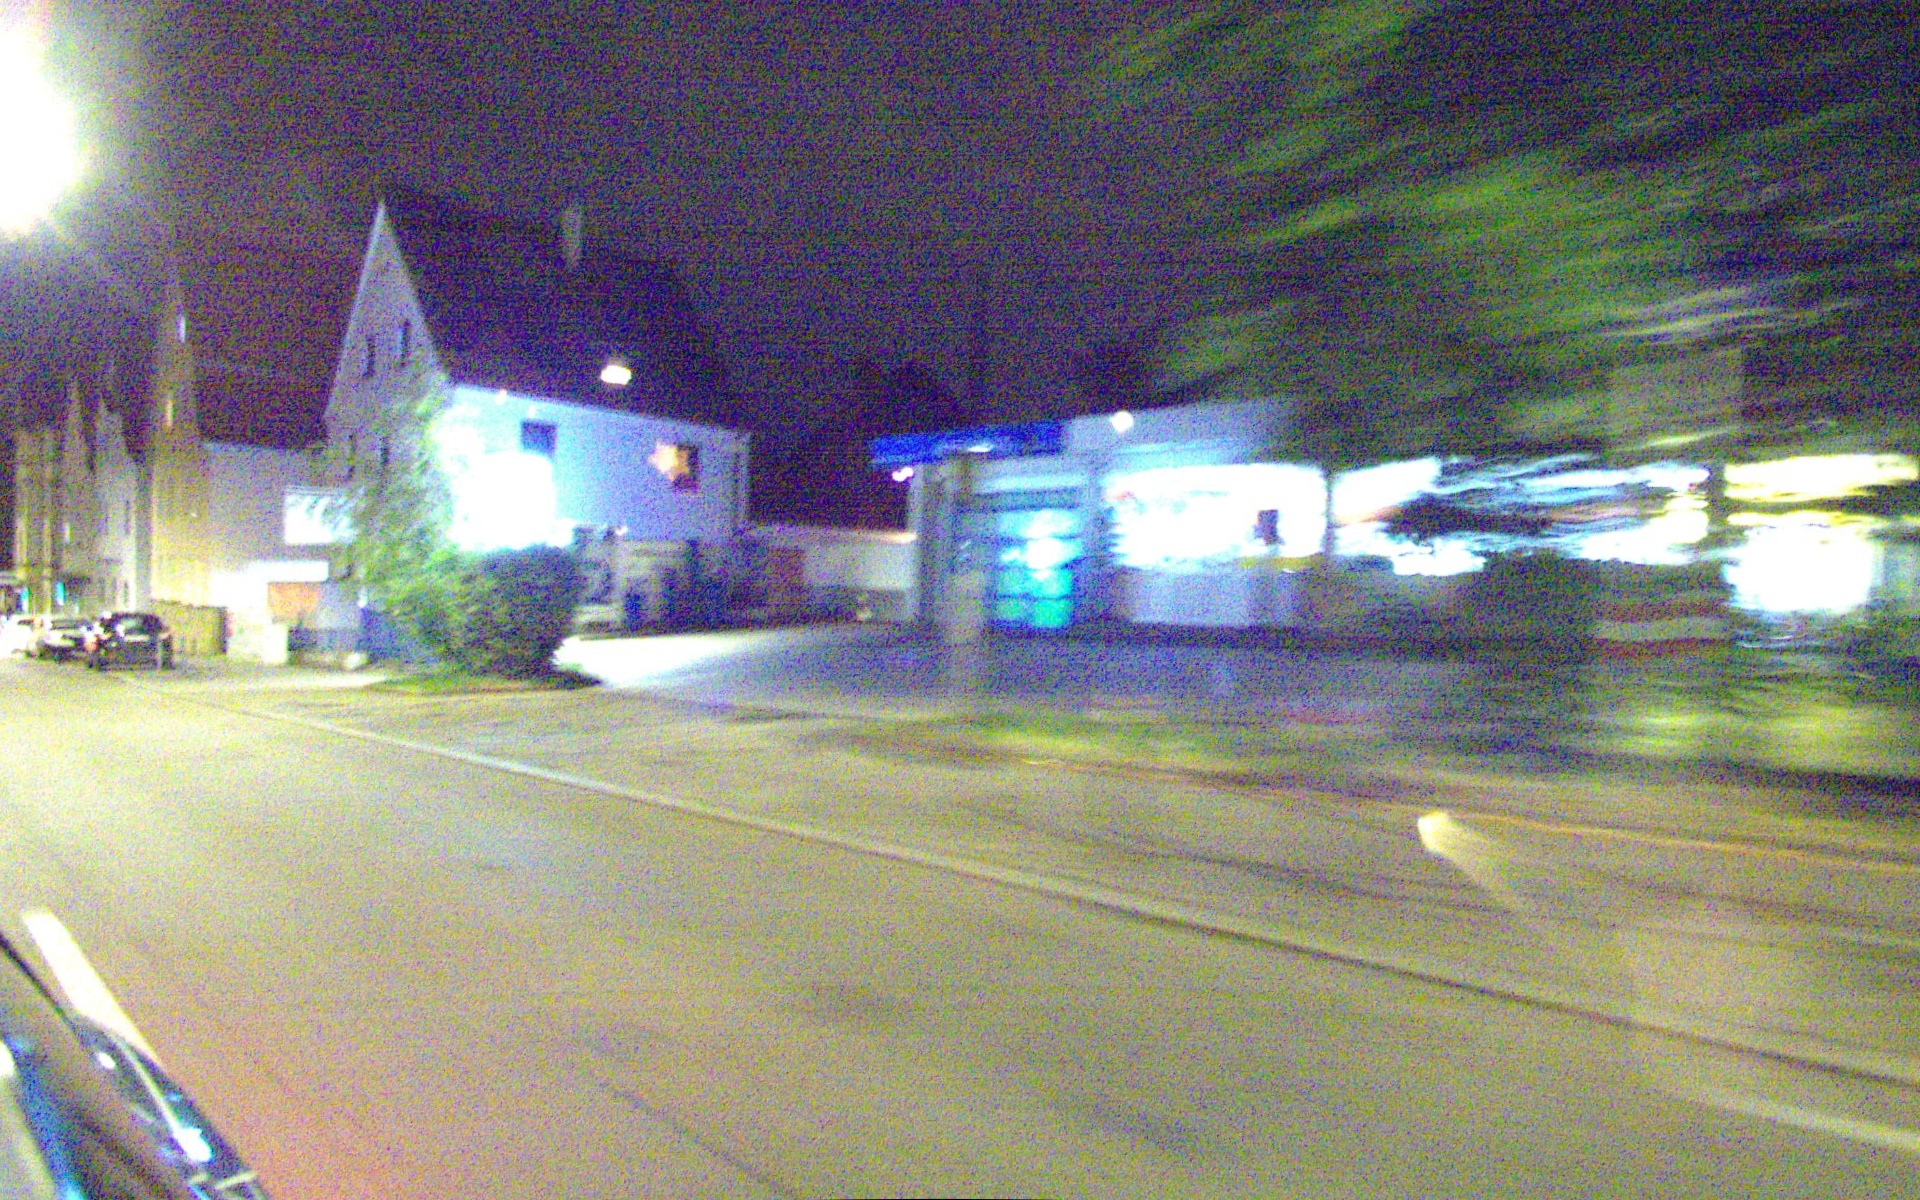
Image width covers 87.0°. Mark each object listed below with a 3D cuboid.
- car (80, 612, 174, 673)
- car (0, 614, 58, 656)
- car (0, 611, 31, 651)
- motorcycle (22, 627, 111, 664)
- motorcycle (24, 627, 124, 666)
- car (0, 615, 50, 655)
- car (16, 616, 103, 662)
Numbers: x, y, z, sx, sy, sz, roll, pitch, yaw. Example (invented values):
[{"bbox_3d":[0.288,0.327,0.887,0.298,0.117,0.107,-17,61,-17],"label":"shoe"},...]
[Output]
[{"bbox_3d":[-22.495,1.108,27.300,2.765,1.509,1.620,0,0,43],"label":"car"},{"bbox_3d":[-37.137,1.347,40.093,3.779,1.503,1.605,0,1,41],"label":"car"},{"bbox_3d":[-46.115,1.465,48.578,4.001,1.763,1.971,0,1,44],"label":"car"},{"bbox_3d":[-28.286,1.425,32.045,2.177,1.156,0.716,0,-1,0],"label":"motorcycle"},{"bbox_3d":[-26.820,1.384,30.658,2.171,1.139,0.718,0,-1,-15],"label":"motorcycle"},{"bbox_3d":[-40.404,1.460,43.176,4.278,1.503,1.844,0,1,41],"label":"car"},{"bbox_3d":[-30.992,1.315,34.796,4.225,1.503,1.686,-1,-2,41],"label":"car"}]
